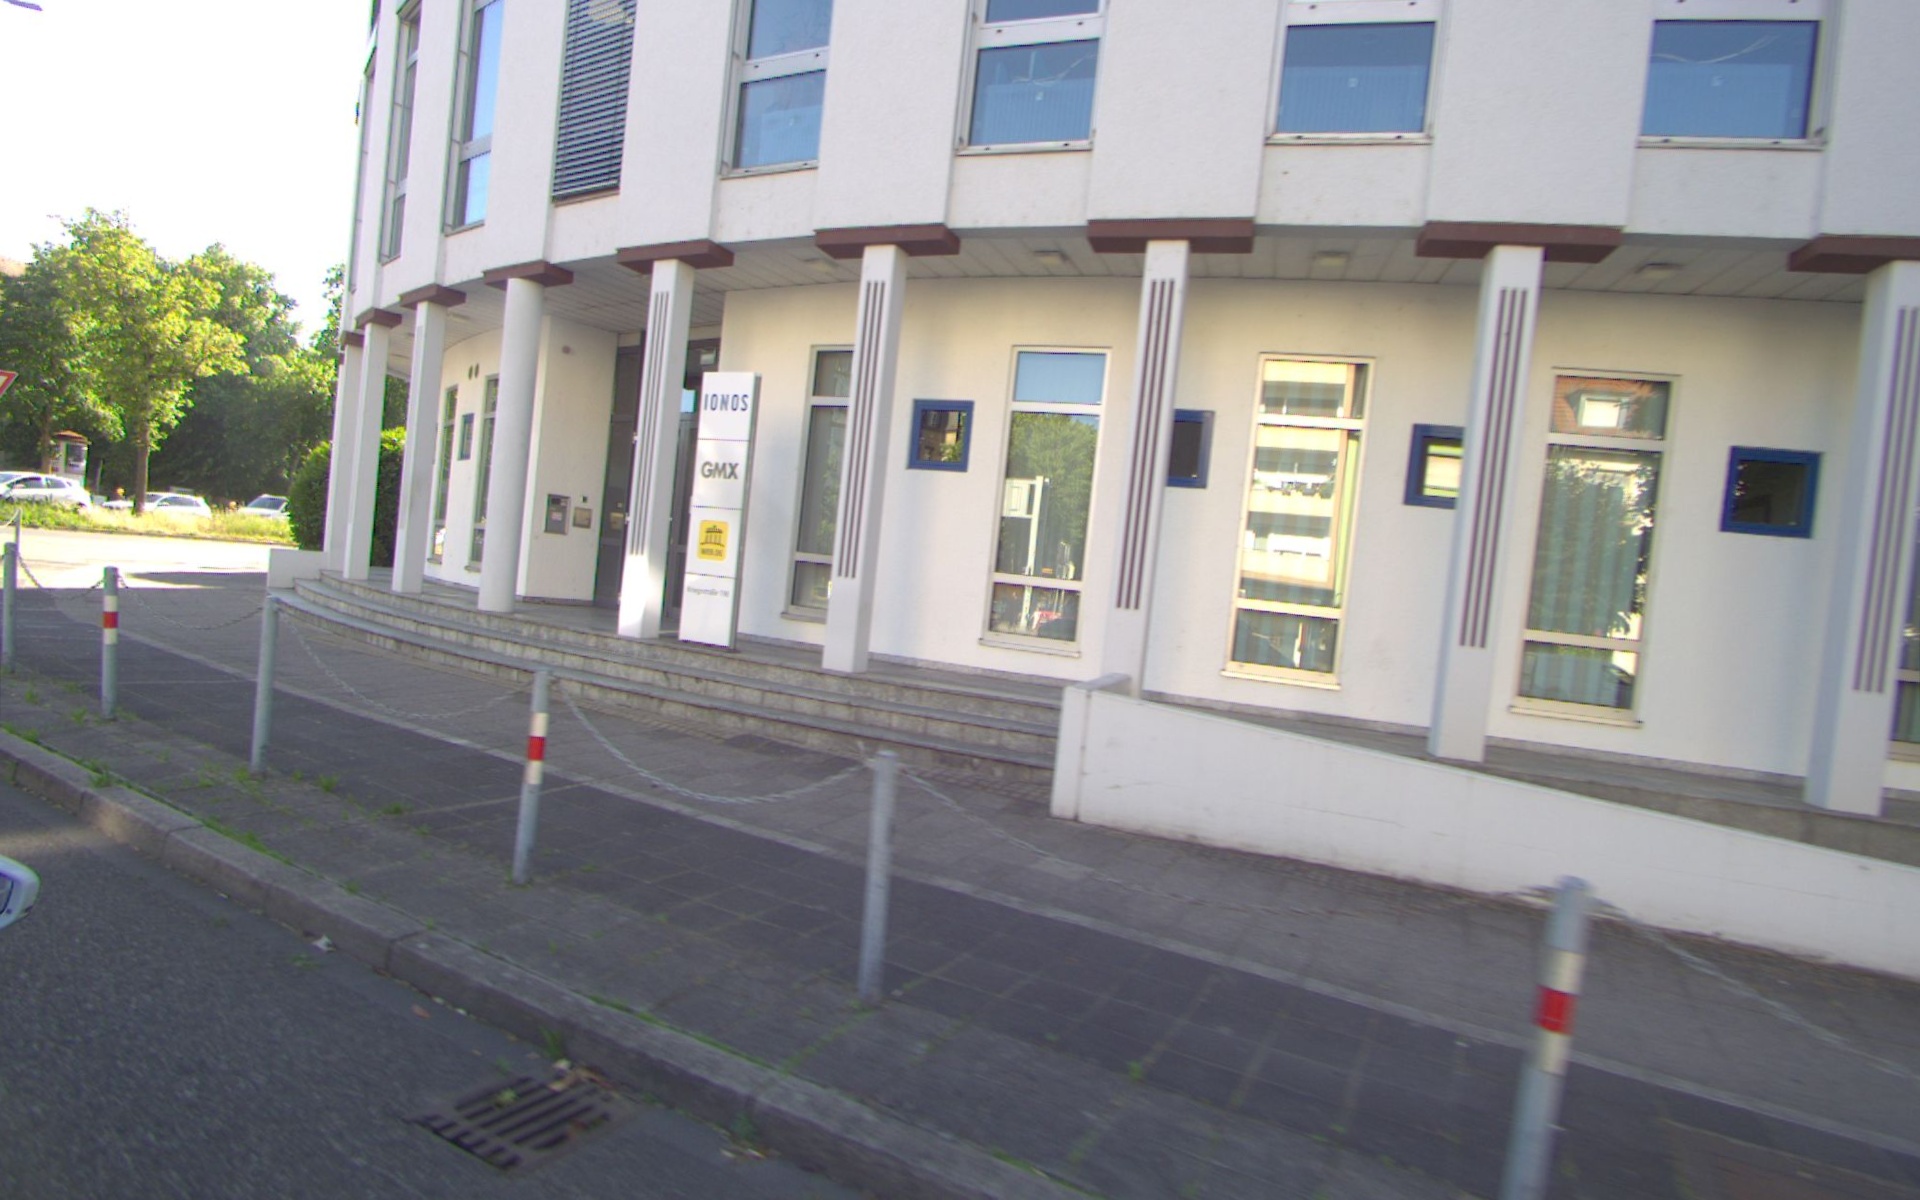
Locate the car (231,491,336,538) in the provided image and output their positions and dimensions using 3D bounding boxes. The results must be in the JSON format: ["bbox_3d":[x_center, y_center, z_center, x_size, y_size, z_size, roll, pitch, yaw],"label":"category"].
[{"bbox_3d":[-32.245,-4.046,48.084,1.886,1.665,4.000,7,1,7],"label":"car"}]

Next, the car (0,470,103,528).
[{"bbox_3d":[-30.404,-3.346,32.319,1.787,1.527,4.188,7,1,7],"label":"car"}]

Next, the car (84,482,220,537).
[{"bbox_3d":[-32.780,-3.627,40.958,1.886,1.665,4.000,7,1,9],"label":"car"}]
